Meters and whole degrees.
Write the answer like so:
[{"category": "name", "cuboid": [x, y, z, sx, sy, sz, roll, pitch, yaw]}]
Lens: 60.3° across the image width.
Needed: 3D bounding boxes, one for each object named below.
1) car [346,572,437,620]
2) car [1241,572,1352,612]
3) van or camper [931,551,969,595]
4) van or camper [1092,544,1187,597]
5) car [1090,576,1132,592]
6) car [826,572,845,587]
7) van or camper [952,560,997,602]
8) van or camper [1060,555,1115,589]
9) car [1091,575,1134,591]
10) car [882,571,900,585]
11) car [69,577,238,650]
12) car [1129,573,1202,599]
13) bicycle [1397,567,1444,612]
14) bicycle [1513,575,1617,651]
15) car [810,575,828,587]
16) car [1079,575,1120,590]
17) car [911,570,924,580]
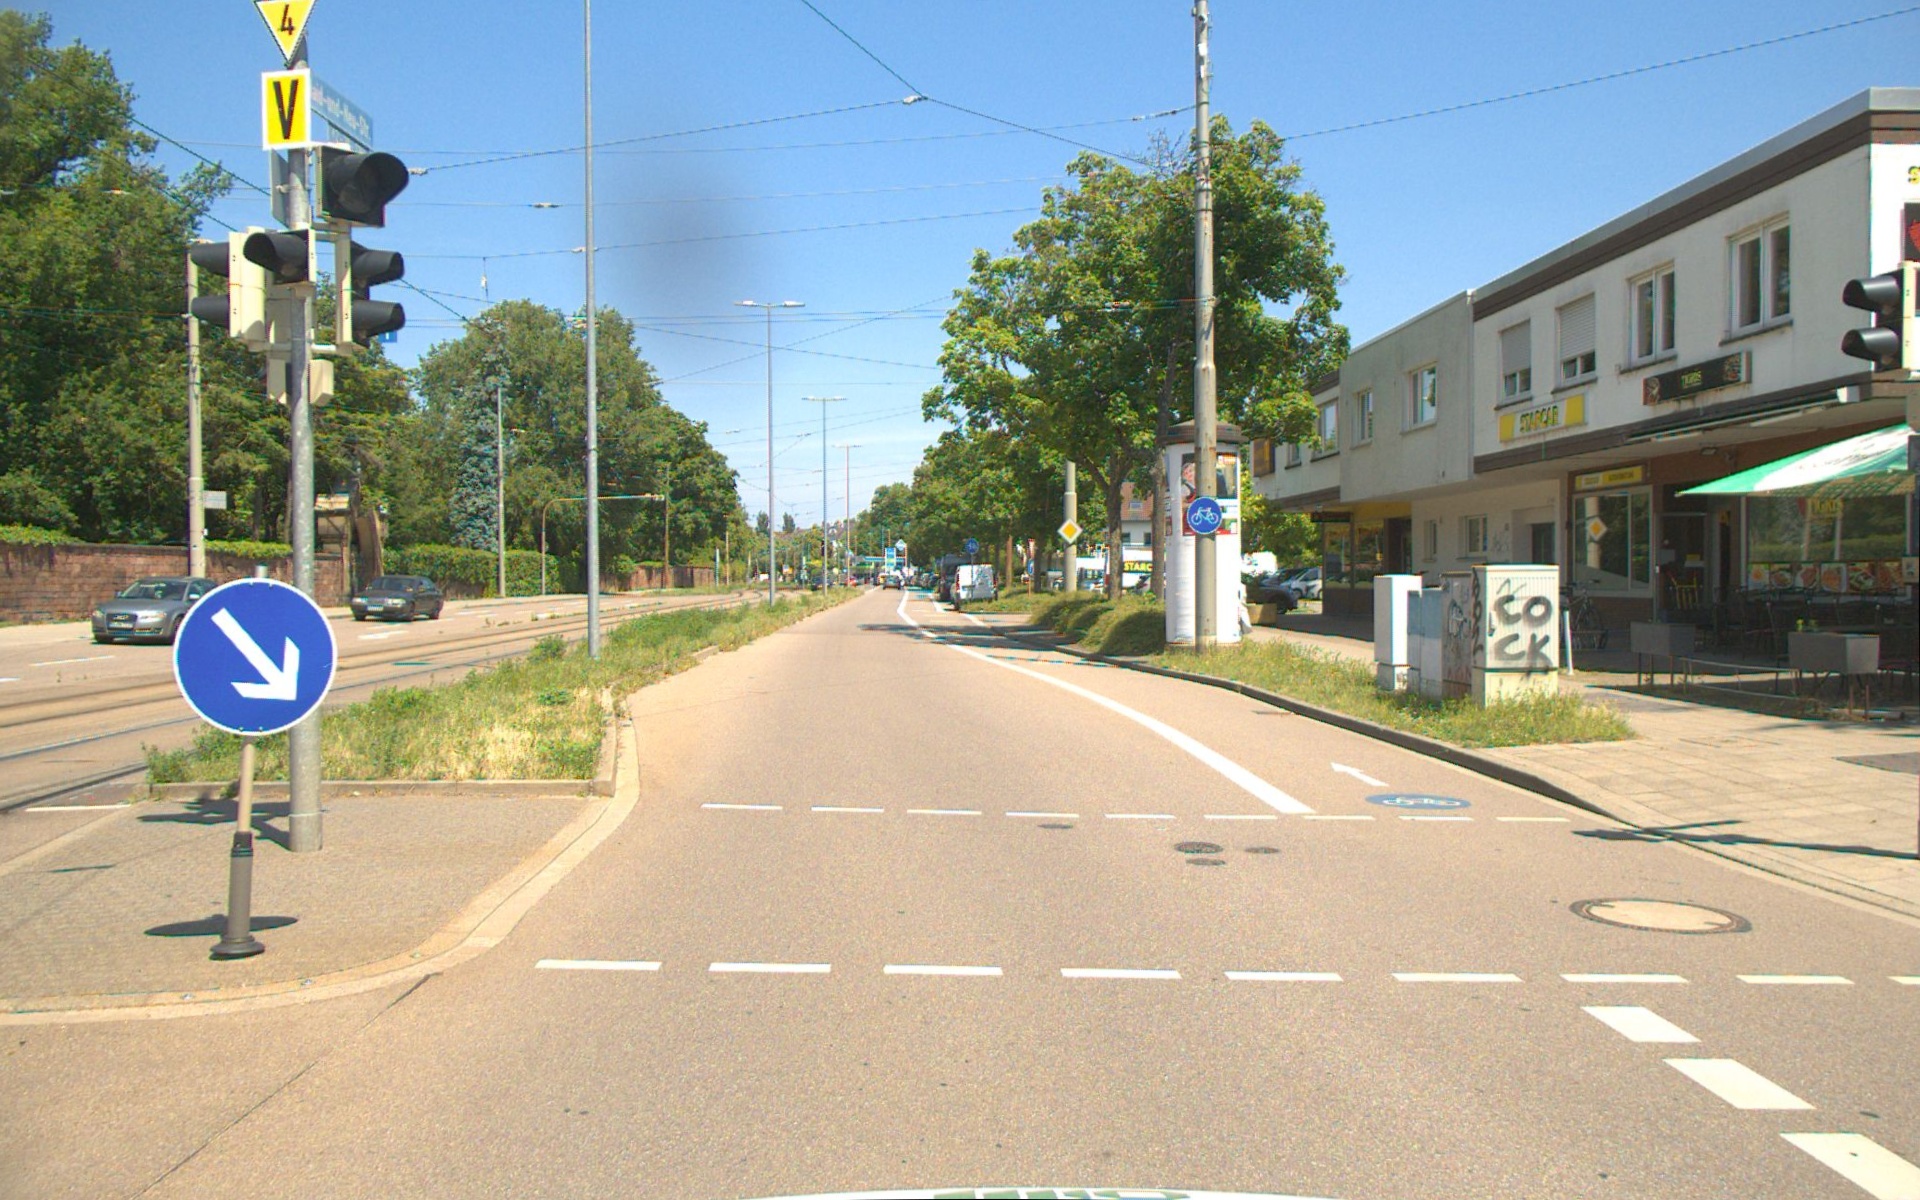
[{"category": "car", "cuboid": [-18.002, -0.151, 52.519, 1.608, 1.424, 4.114, 1, 1, -3]}, {"category": "car", "cuboid": [11.777, -0.287, 58.042, 3.539, 1.374, 1.488, 0, 1, -8]}, {"category": "van or camper", "cuboid": [-0.596, -1.585, 95.830, 1.954, 2.507, 3.997, 0, 1, -4]}, {"category": "van or camper", "cuboid": [9.363, -1.539, 86.718, 4.662, 2.717, 2.134, 0, 1, -4]}, {"category": "car", "cuboid": [9.366, -0.977, 102.671, 2.535, 0.979, 1.149, 0, 1, -1]}, {"category": "car", "cuboid": [-9.096, -1.508, 120.501, 1.267, 1.072, 2.597, 0, 1, -7]}, {"category": "van or camper", "cuboid": [0.611, -0.856, 73.382, 1.883, 1.802, 3.999, 0, 1, -1]}, {"category": "van or camper", "cuboid": [8.538, -1.882, 111.065, 3.487, 2.183, 1.601, 0, 1, -4]}, {"category": "car", "cuboid": [9.193, -1.028, 99.733, 2.533, 0.979, 1.149, 0, 1, 3]}, {"category": "car", "cuboid": [-6.809, -2.167, 163.279, 1.604, 1.375, 3.839, 0, 1, -4]}, {"category": "car", "cuboid": [-17.530, 0.254, 36.168, 1.607, 1.445, 4.168, 1, 1, 1]}, {"category": "car", "cuboid": [10.013, -0.695, 80.721, 3.468, 1.243, 1.477, 0, 1, 3]}, {"category": "bicycle", "cuboid": [11.567, -0.268, 41.635, 0.497, 1.084, 1.862, 1, 0, -5]}, {"category": "bicycle", "cuboid": [9.906, 0.182, 27.195, 0.968, 1.184, 2.639, 0, 1, 5]}, {"category": "car", "cuboid": [-12.630, -1.736, 148.469, 1.462, 1.064, 3.578, 0, 1, -2]}, {"category": "car", "cuboid": [9.068, -1.147, 107.714, 2.535, 0.979, 1.149, 0, 1, -1]}, {"category": "car", "cuboid": [-5.409, -3.152, 208.250, 1.494, 1.319, 3.490, 0, 1, -4]}]
